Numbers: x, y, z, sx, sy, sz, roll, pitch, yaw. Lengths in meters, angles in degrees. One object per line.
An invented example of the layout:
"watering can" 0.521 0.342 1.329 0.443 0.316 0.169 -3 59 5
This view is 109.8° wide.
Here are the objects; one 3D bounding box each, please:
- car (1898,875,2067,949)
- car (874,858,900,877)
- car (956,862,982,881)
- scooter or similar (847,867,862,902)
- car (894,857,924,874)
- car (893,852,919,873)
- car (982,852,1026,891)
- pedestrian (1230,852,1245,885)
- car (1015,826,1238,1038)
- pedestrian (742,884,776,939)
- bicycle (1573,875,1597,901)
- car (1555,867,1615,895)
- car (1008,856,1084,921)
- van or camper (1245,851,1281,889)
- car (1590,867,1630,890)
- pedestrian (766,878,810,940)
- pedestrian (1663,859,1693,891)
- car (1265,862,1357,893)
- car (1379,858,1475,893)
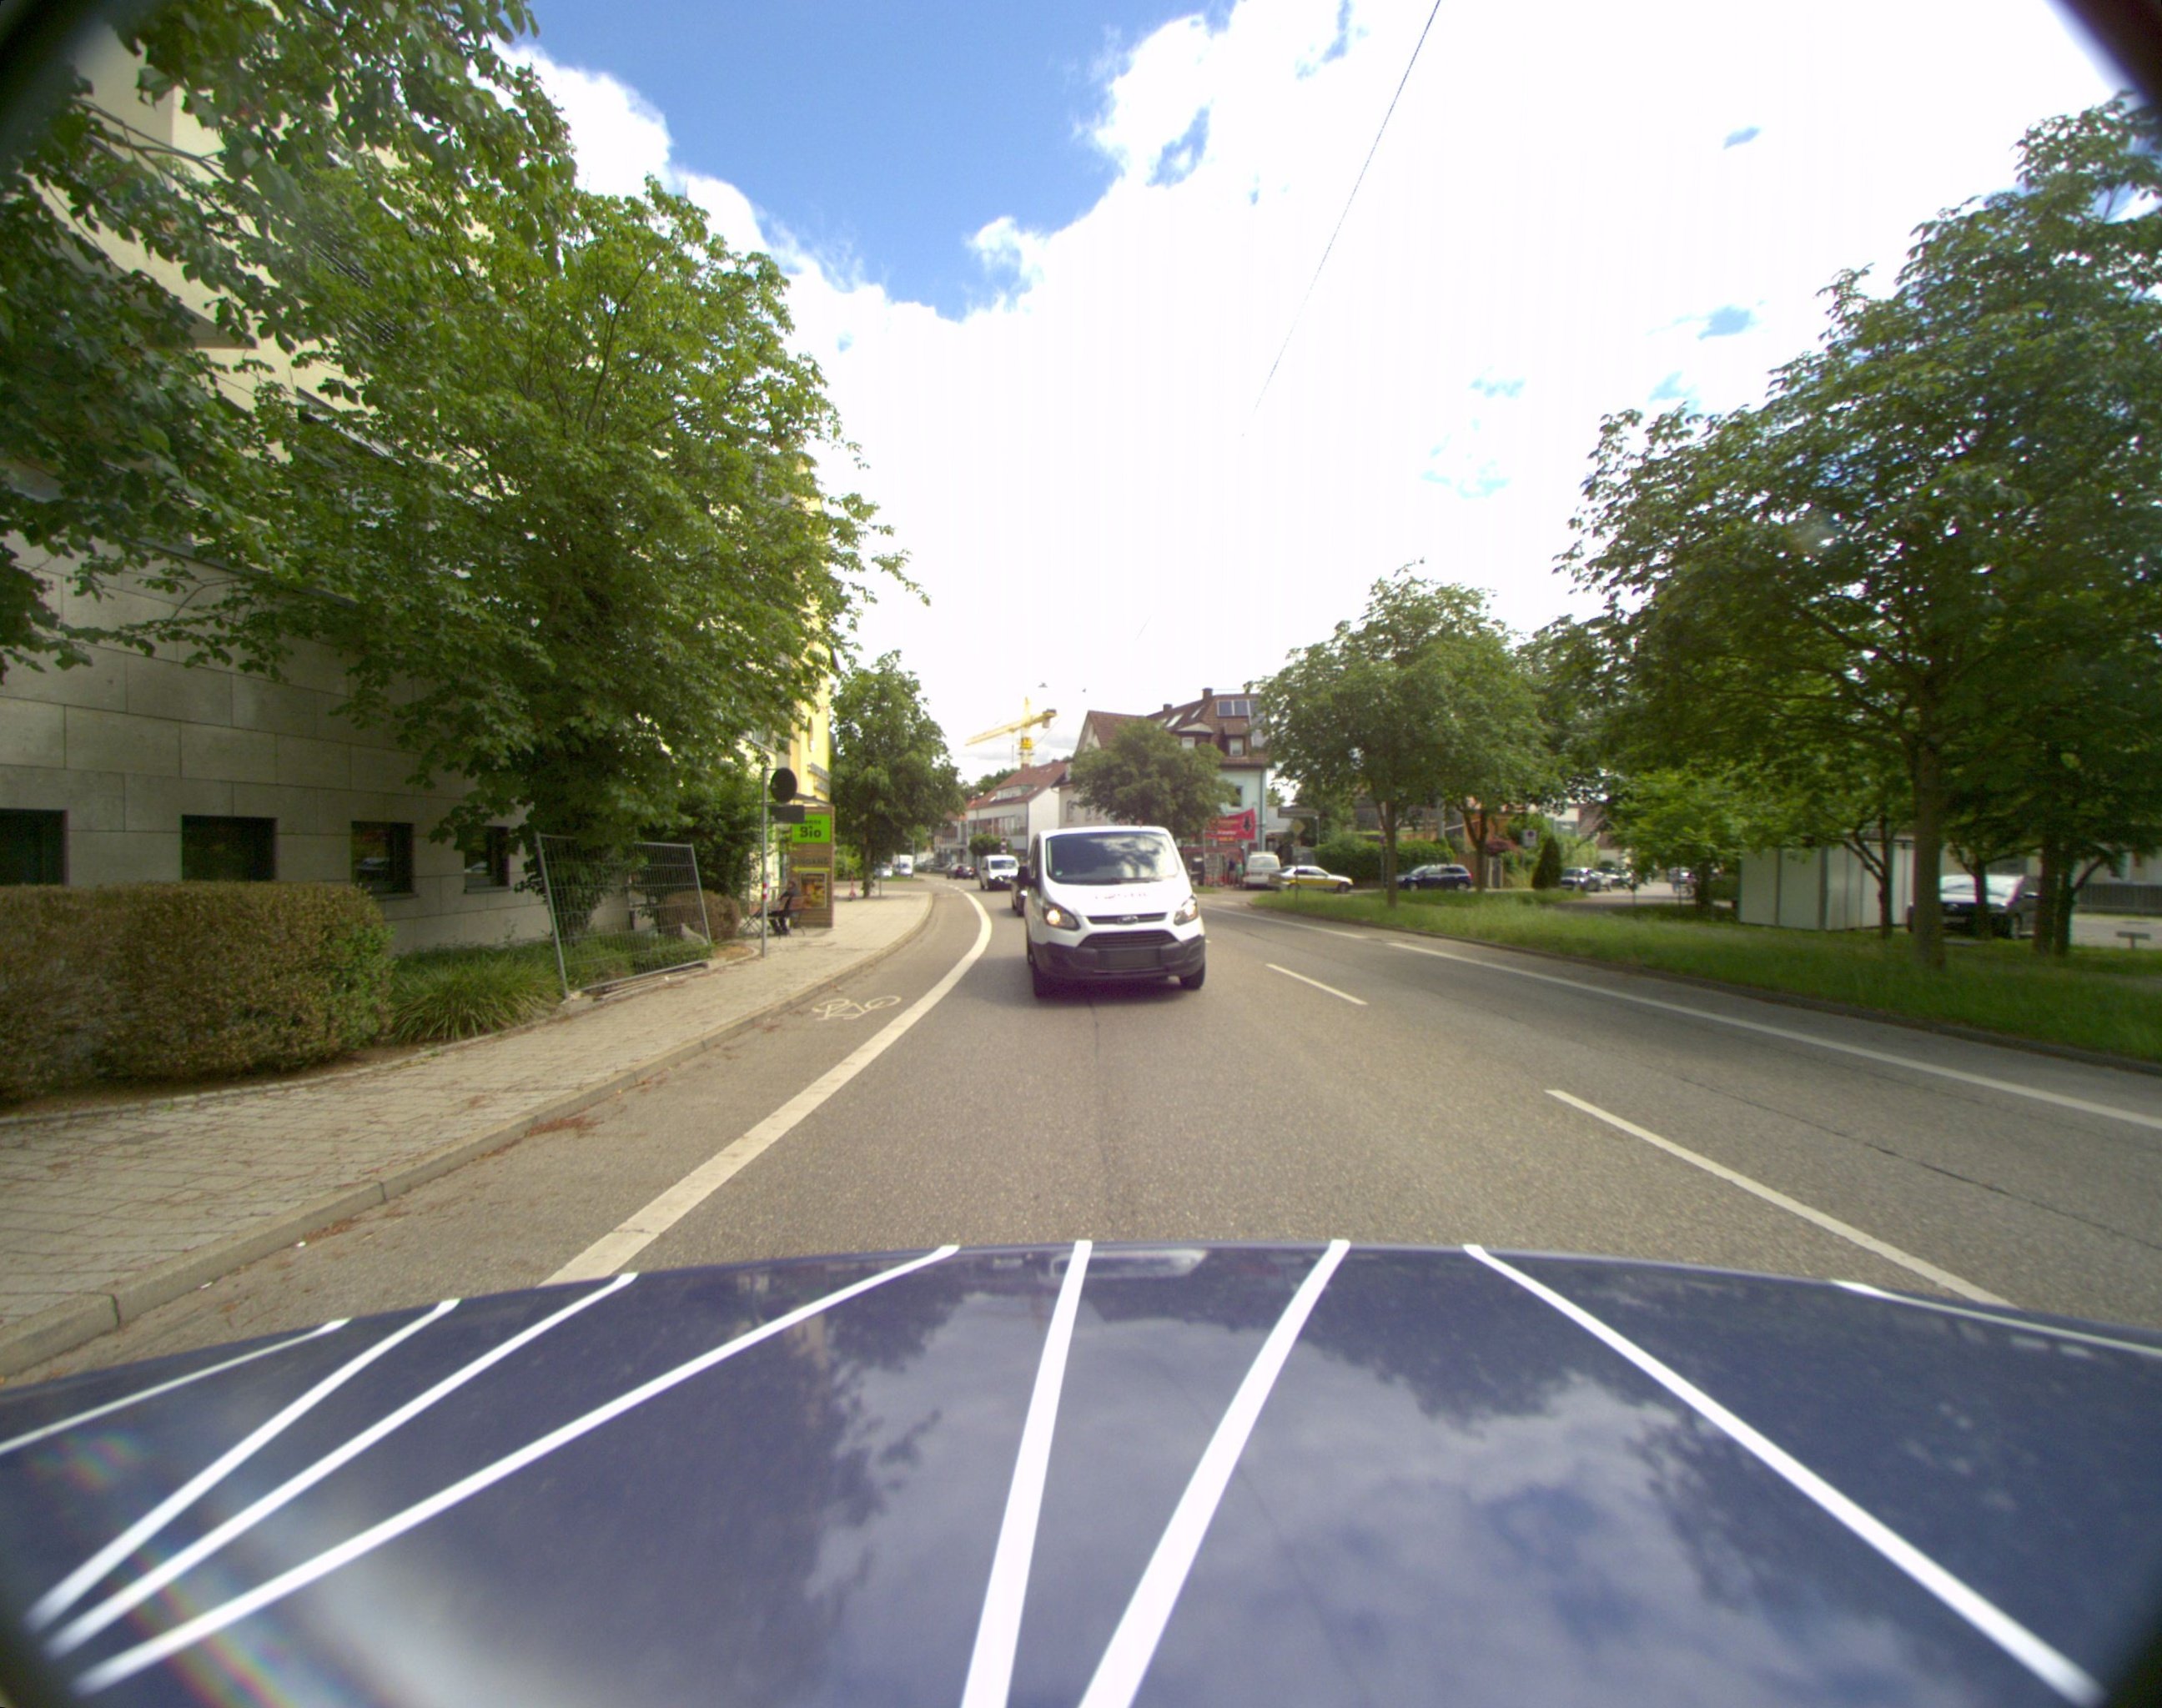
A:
"car" 20.934 1.288 17.656 3.400 1.442 1.429 -1 2 -20
"car" -17.731 1.217 69.375 1.697 1.656 4.454 0 -1 -23
"car" -9.793 1.526 66.202 1.693 1.473 4.221 3 -1 -15
"scooter or similar" -9.158 1.220 30.761 0.382 1.309 1.457 -1 2 -11
"car" -17.112 1.116 75.757 1.942 1.656 4.463 0 -1 0
"car" -21.531 1.035 93.277 2.073 2.339 5.172 3 -2 -24
"car" -4.094 0.850 39.765 1.967 1.797 4.424 -2 2 -10
"pedestrian" 9.088 0.857 44.172 0.626 1.885 0.563 -2 2 -36
"car" 0.234 0.741 9.961 2.108 1.982 5.226 -1 0 -5
"pedestrian" -7.373 1.309 17.405 0.578 1.197 0.502 -1 2 -8
"bicycle" 19.801 1.315 29.822 0.462 0.855 2.230 1 2 42
"car" 28.039 1.464 42.246 3.784 1.315 1.589 -2 3 -37
"car" -1.165 0.943 23.038 1.810 1.619 4.683 -3 1 -8
"van or camper" 10.064 0.833 42.256 1.788 1.982 4.382 0 1 11
"car" 36.724 1.665 52.731 3.785 1.314 1.589 -2 3 -44
"pedestrian" -6.521 1.215 16.949 0.690 1.309 0.579 -1 2 9
"pedestrian" 30.317 1.073 38.593 0.736 1.584 0.814 0 -4 -10
"car" 11.442 1.143 37.866 4.031 1.405 1.813 -1 2 -12
"car" 17.181 1.045 37.825 4.001 1.540 1.814 0 2 -7
